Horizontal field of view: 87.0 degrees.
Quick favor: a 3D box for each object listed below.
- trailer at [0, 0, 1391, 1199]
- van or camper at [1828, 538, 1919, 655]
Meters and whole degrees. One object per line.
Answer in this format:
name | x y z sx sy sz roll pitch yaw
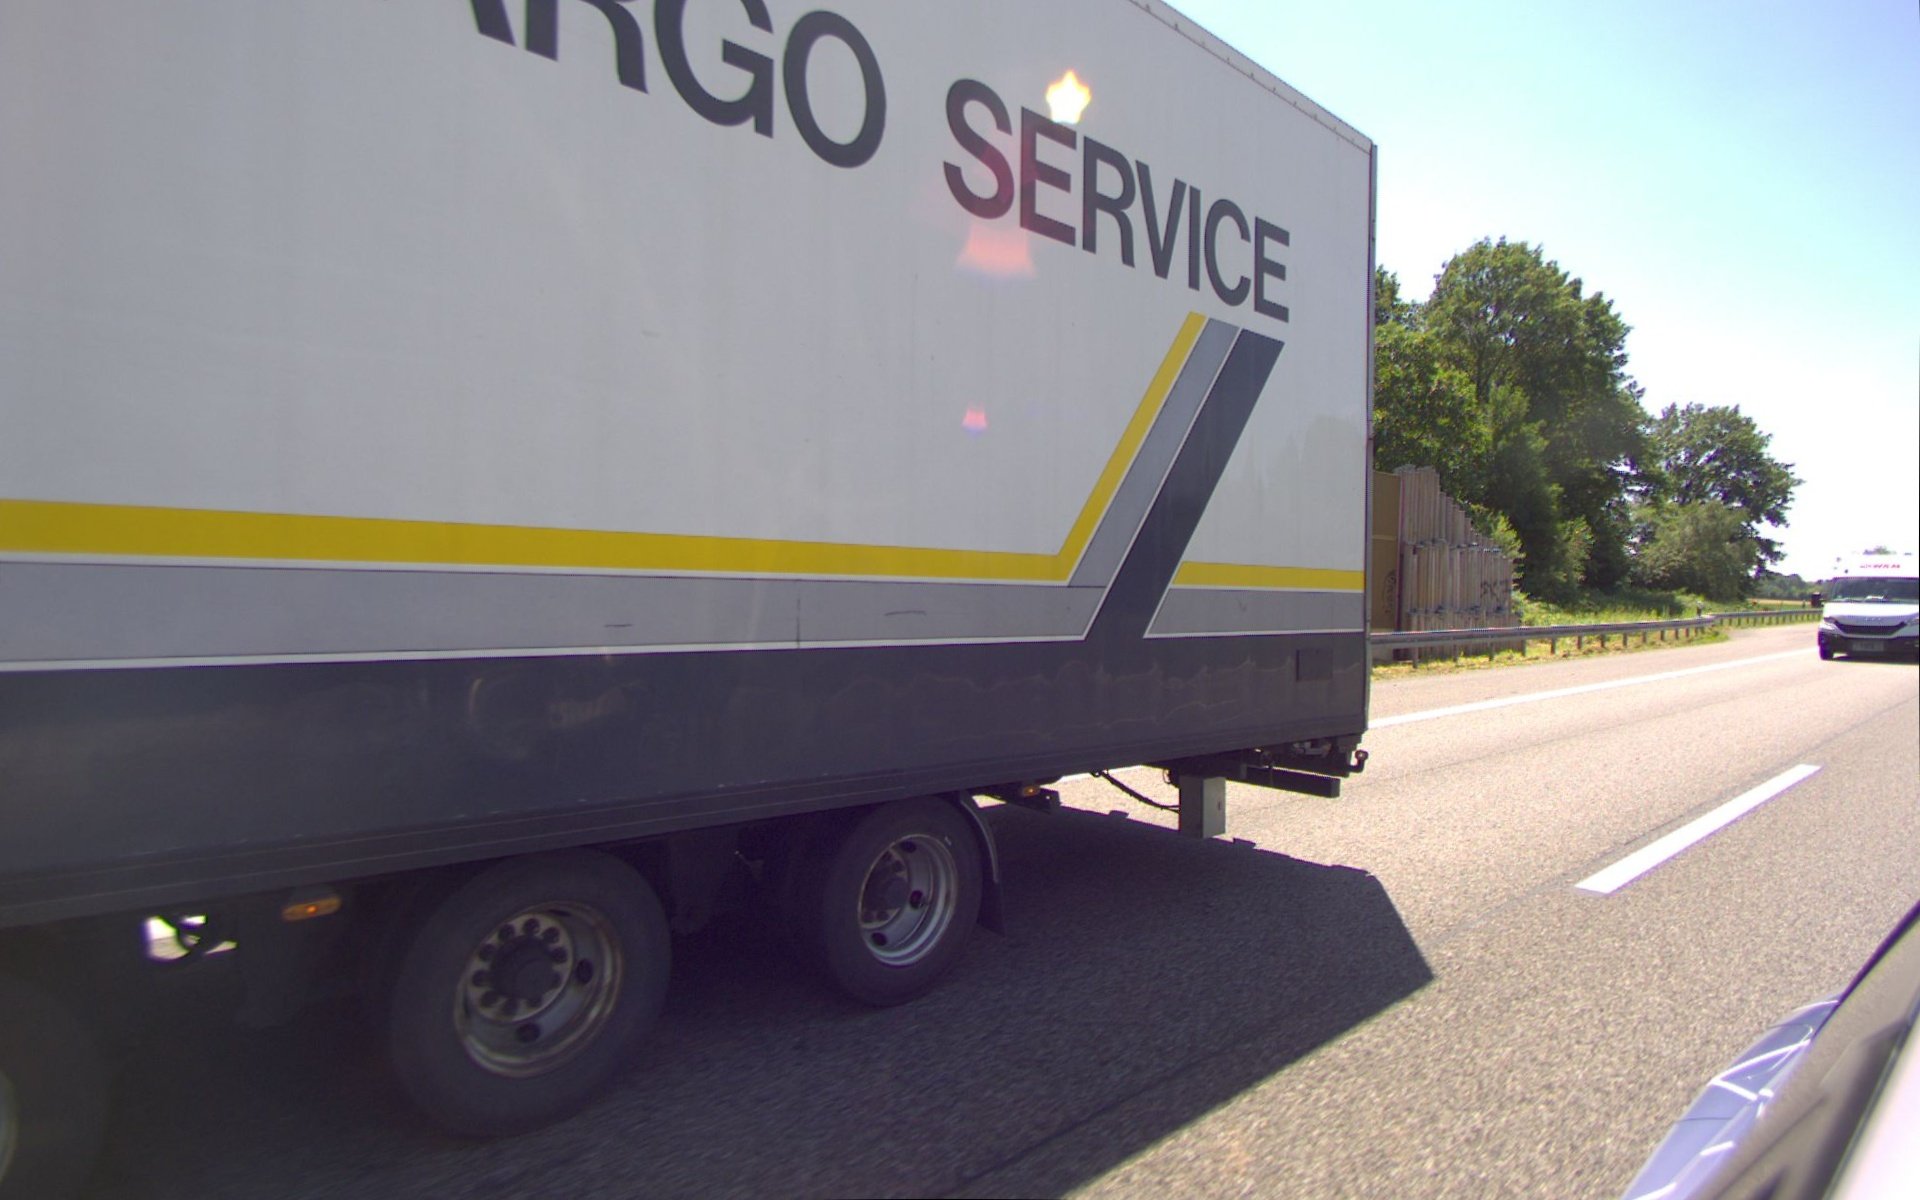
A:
trailer | -3.596 -0.736 2.241 13.184 4.343 2.998 0 0 -41
van or camper | 23.947 -0.107 25.718 6.375 2.670 2.025 0 0 -42
